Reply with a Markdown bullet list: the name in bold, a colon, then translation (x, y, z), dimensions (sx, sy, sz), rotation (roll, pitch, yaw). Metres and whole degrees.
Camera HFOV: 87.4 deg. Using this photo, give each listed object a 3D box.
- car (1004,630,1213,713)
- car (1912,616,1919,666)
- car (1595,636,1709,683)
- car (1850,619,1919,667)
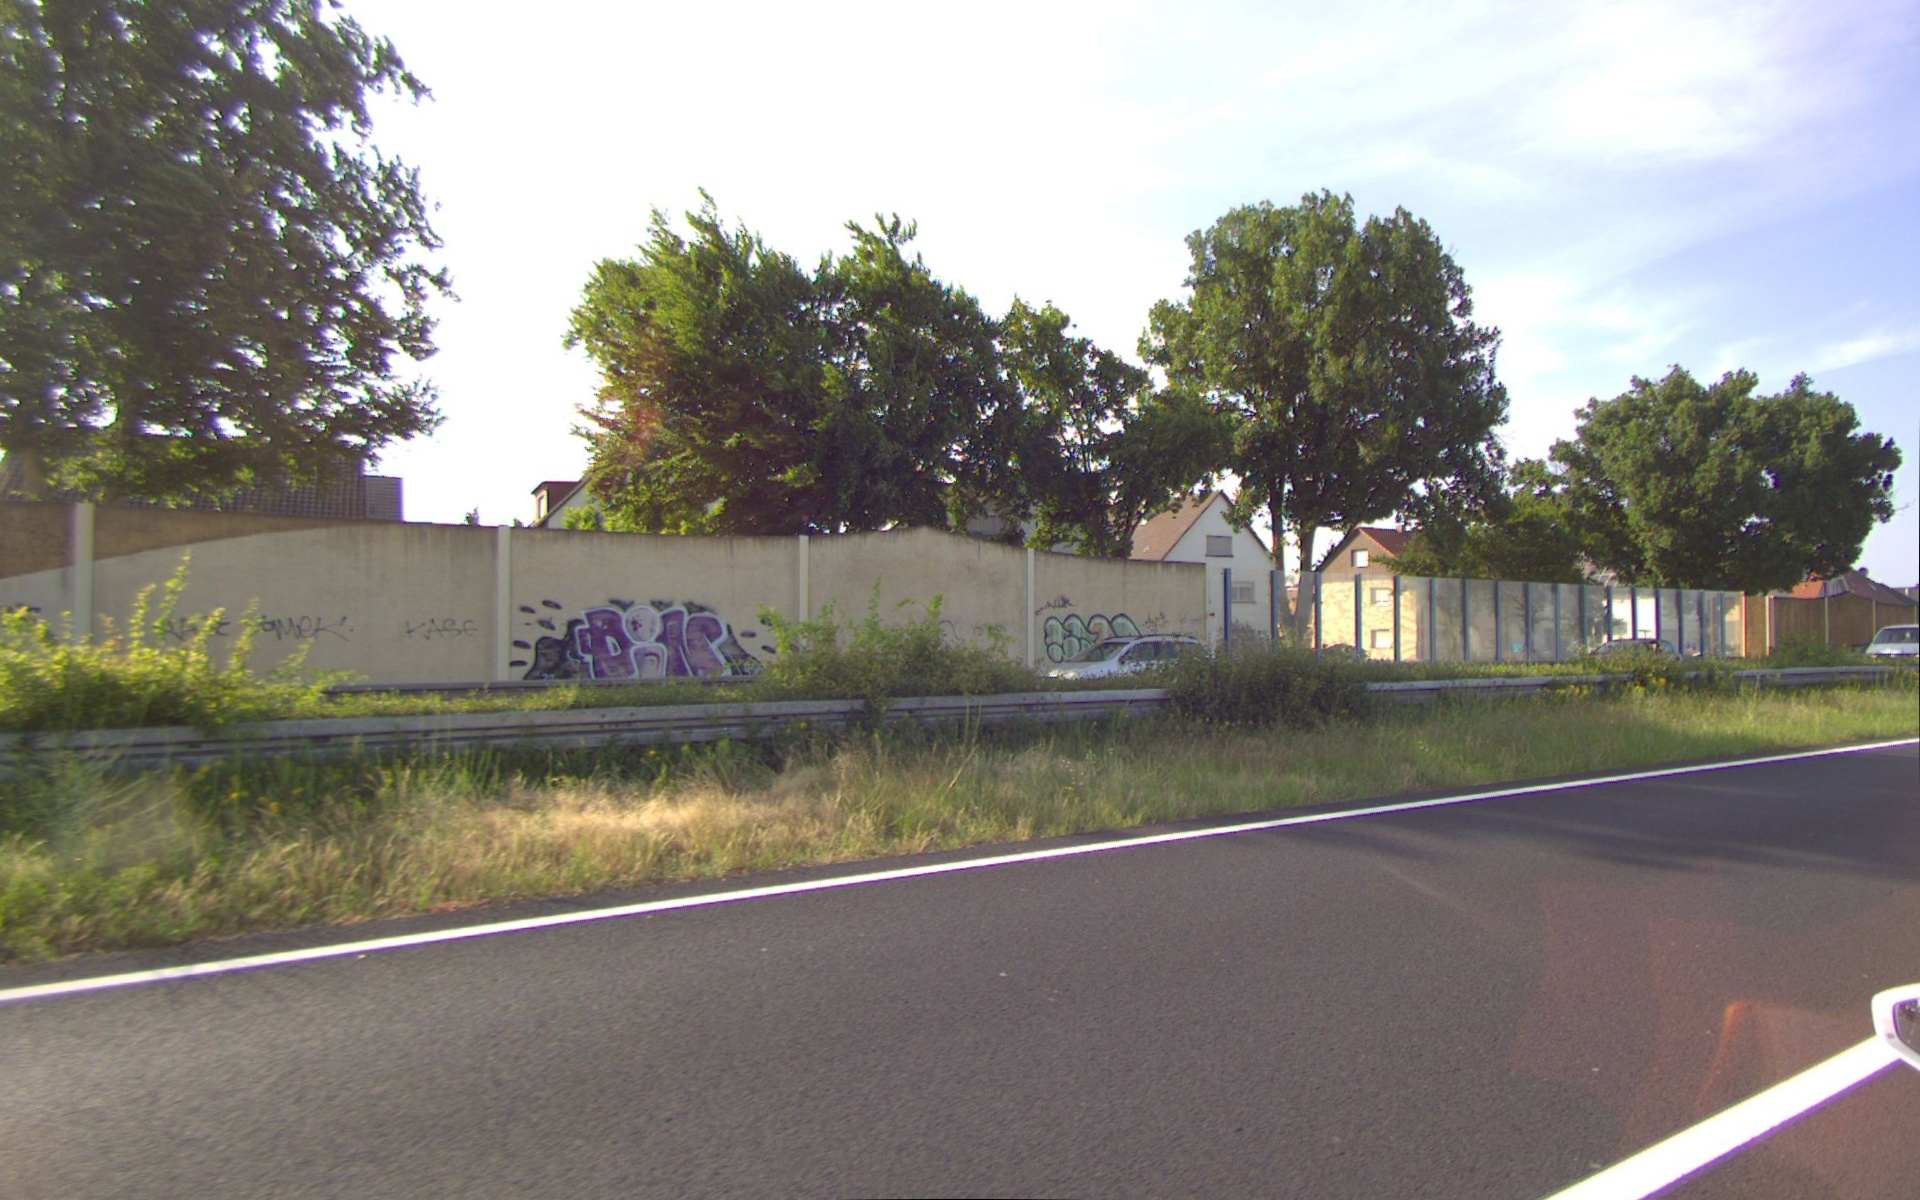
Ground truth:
- **car**: translation (3.004, 1.366, 20.160), dimensions (3.955, 1.461, 1.745), rotation (1, 0, -32)
- **car**: translation (38.389, 1.596, 38.464), dimensions (4.319, 1.857, 1.754), rotation (1, 0, -31)
- **car**: translation (22.274, 1.880, 32.311), dimensions (3.565, 1.397, 1.666), rotation (1, 0, -30)
- **car**: translation (32.830, 1.455, 34.543), dimensions (5.003, 1.503, 1.971), rotation (1, 0, -31)
